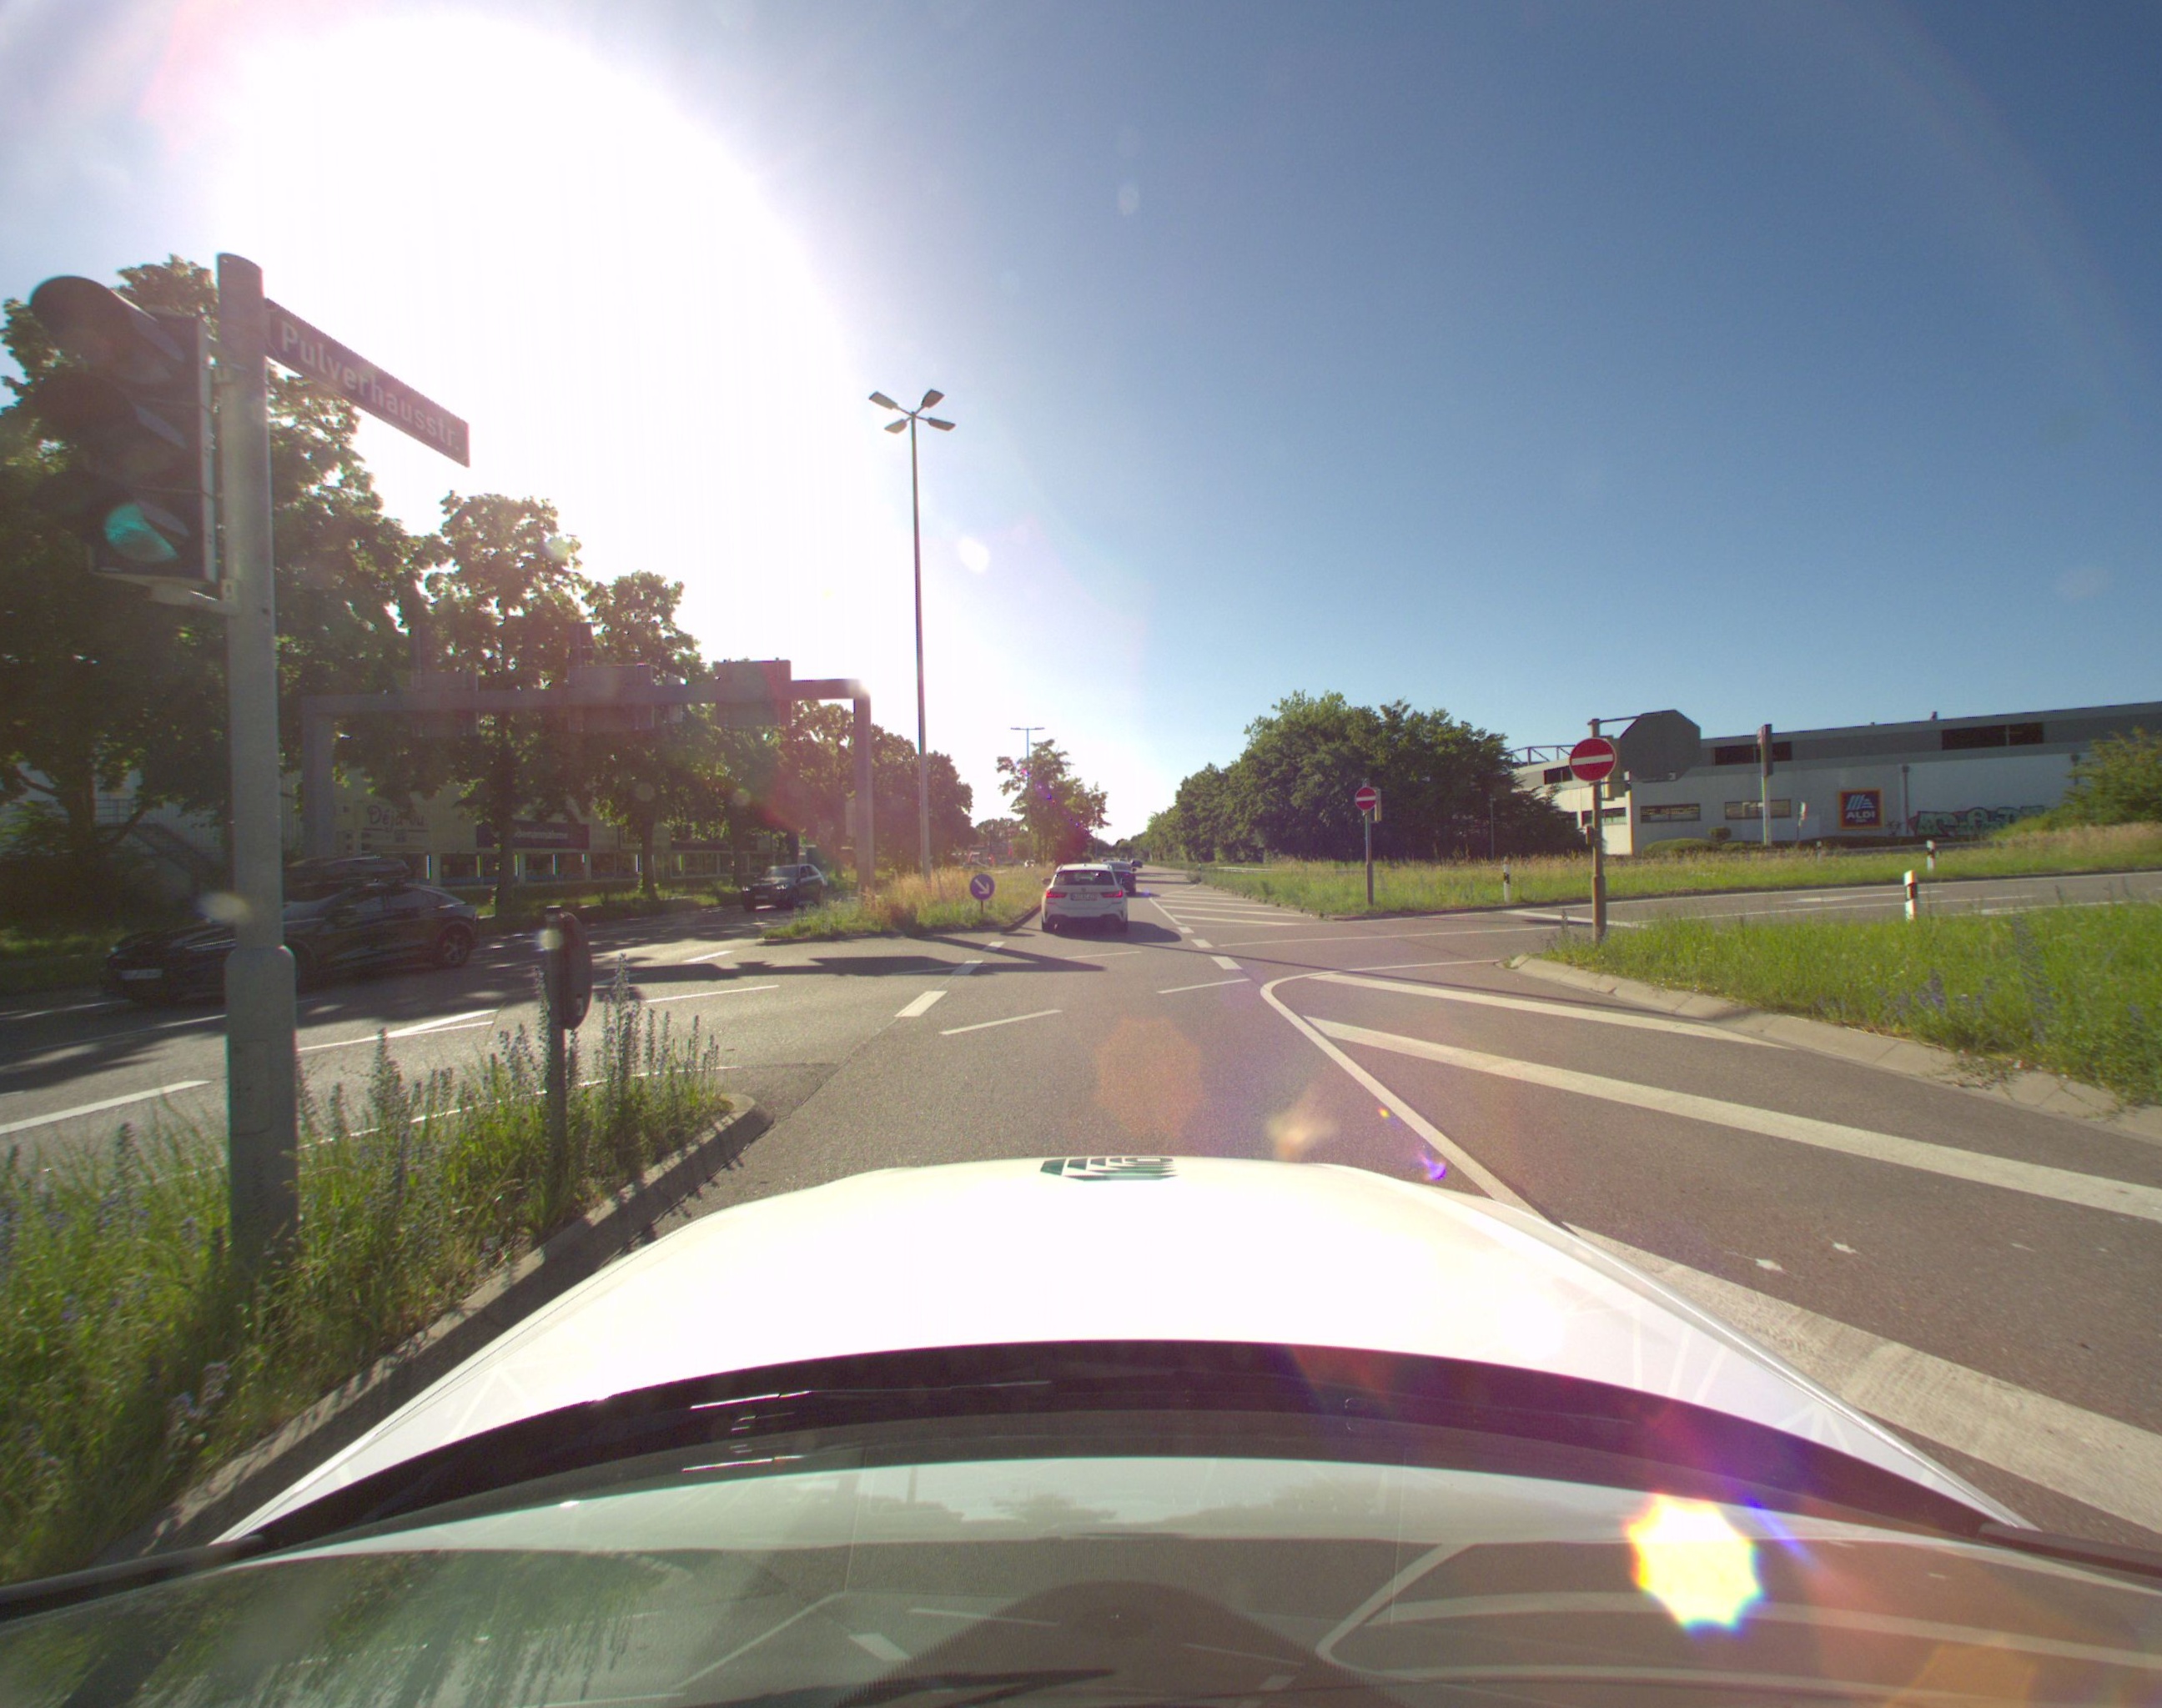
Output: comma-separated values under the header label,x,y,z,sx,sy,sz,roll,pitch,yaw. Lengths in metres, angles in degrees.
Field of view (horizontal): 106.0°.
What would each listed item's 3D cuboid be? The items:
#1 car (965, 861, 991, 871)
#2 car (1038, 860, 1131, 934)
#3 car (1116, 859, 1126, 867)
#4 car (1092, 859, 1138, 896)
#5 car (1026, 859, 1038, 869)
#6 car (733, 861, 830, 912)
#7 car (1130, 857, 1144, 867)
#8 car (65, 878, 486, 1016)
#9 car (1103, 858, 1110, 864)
label,x,y,z,sx,sy,sz,roll,pitch,yaw
car,-17.947,2.054,141.824,4.092,1.662,1.895,-2,0,3
car,0.153,0.882,18.582,1.854,1.455,4.549,-1,0,2
car,7.720,1.738,158.752,1.766,1.555,3.832,-2,0,0
car,1.435,0.959,35.406,1.855,1.455,4.548,-2,0,1
car,-8.507,1.707,140.739,1.700,1.746,4.165,-1,0,0
car,-11.743,1.222,32.307,1.935,1.697,4.631,-3,0,1
car,8.740,1.219,127.057,1.855,1.499,4.337,-1,0,1
car,-11.999,1.266,12.726,1.869,1.543,4.574,-3,0,2
car,7.079,1.906,229.248,1.855,1.565,4.548,-2,0,1
